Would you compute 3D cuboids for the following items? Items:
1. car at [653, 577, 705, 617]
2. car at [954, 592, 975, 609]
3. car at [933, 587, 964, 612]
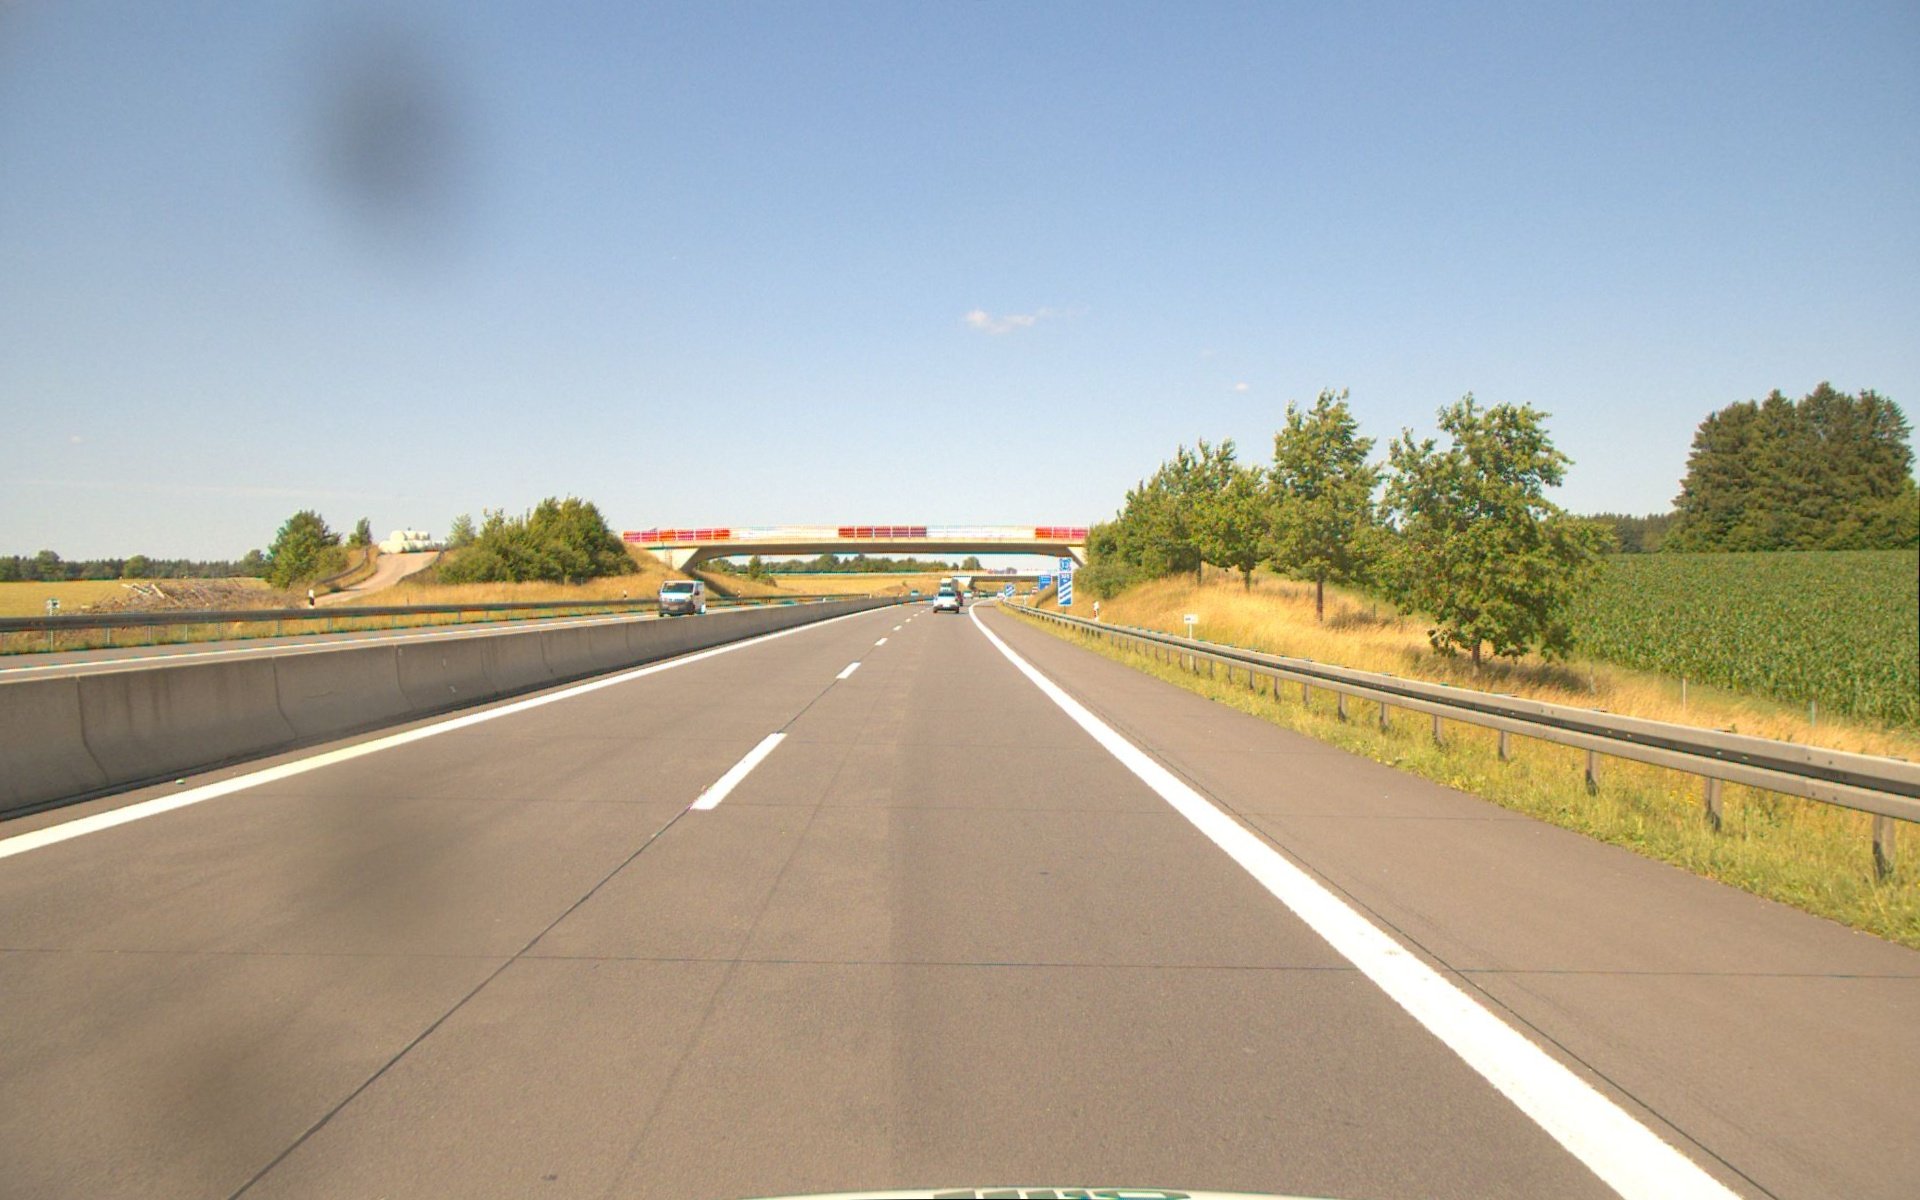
[{"bbox_3d":[-15.211,-0.149,89.799,1.953,2.049,5.713,2,0,-2],"label":"car"},{"bbox_3d":[0.455,0.053,169.509,1.952,1.761,4.870,-1,0,2],"label":"car"},{"bbox_3d":[-0.839,-0.048,117.169,1.954,1.761,4.866,-1,0,-3],"label":"car"}]
